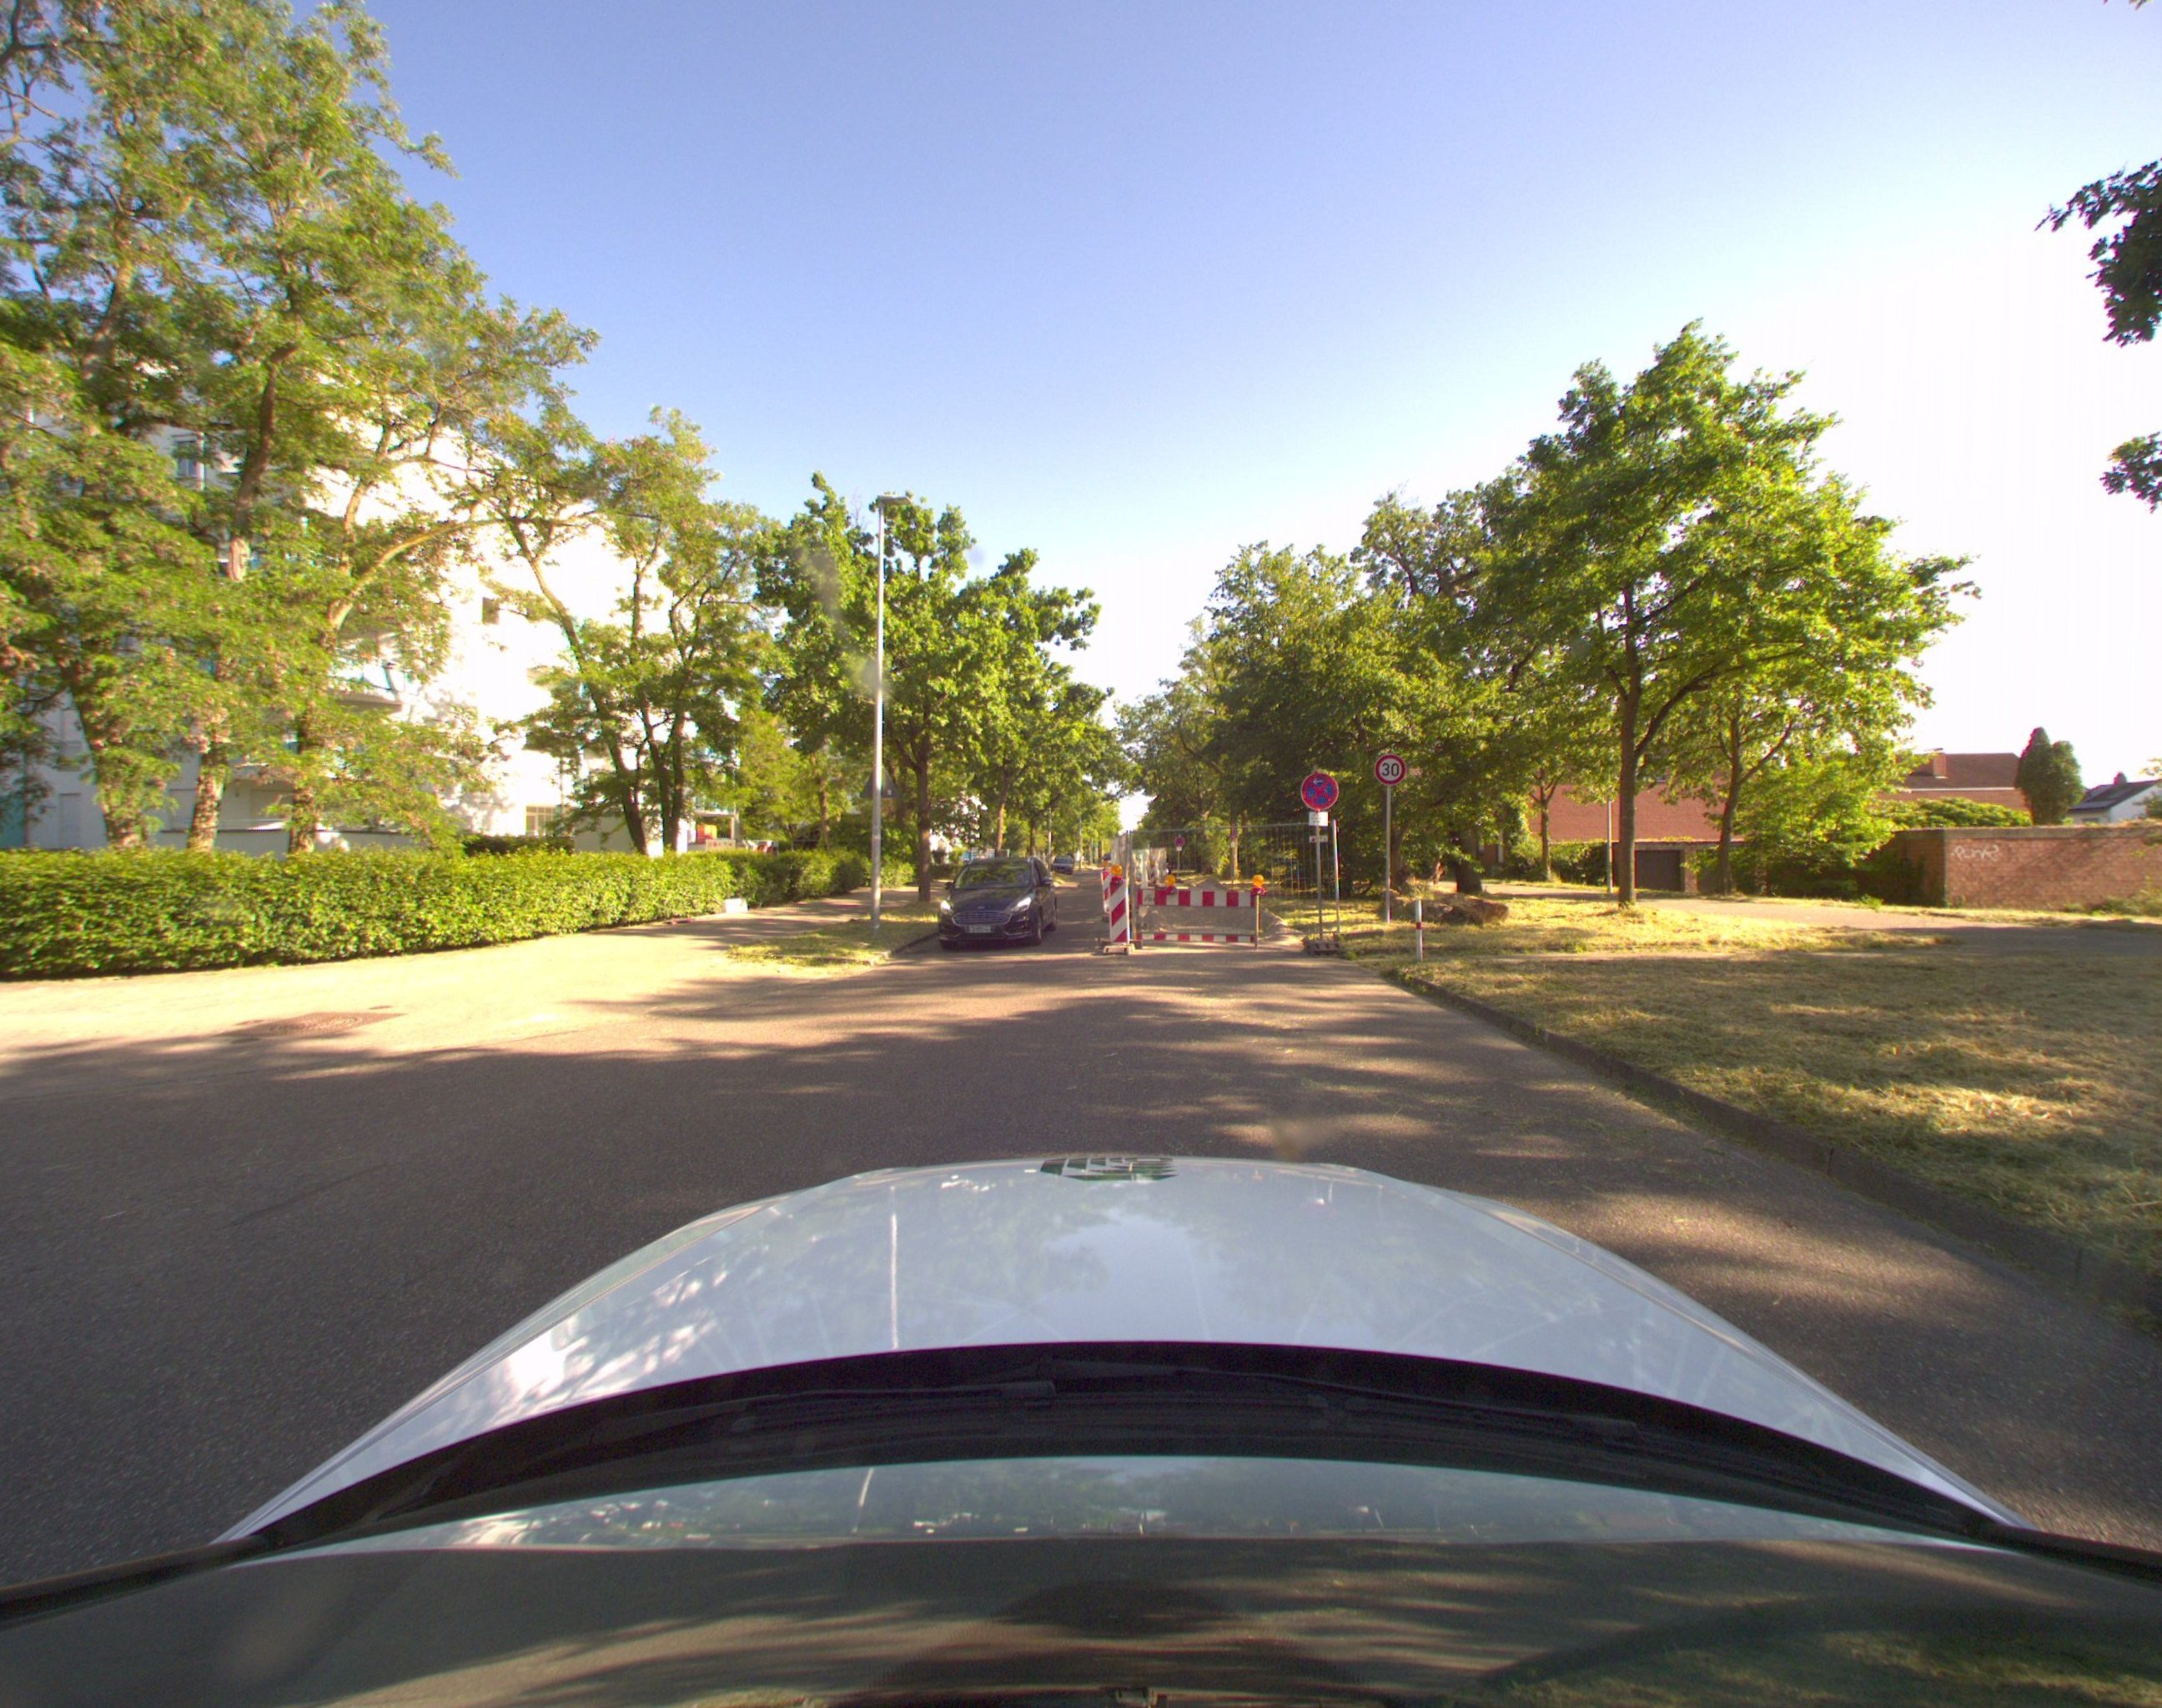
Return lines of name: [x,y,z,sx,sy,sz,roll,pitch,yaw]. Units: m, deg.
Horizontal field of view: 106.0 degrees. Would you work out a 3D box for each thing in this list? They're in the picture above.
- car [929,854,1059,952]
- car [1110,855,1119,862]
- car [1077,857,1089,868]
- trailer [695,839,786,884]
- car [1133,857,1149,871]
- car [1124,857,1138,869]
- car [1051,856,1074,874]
car: [-1.560,0.847,16.257,1.814,1.625,4.496,-2,0,3]
car: [7.642,1.111,185.696,1.705,1.585,3.998,1,-1,0]
car: [0.259,1.116,103.429,1.356,1.302,3.481,1,-1,1]
trailer: [-16.370,0.349,39.429,1.964,2.042,4.442,0,0,10]
car: [5.710,0.930,77.650,1.356,1.302,3.481,1,-1,1]
car: [5.542,0.992,90.644,1.356,1.302,3.481,1,-1,1]
car: [-1.517,0.926,68.298,1.744,1.478,3.838,0,0,2]
